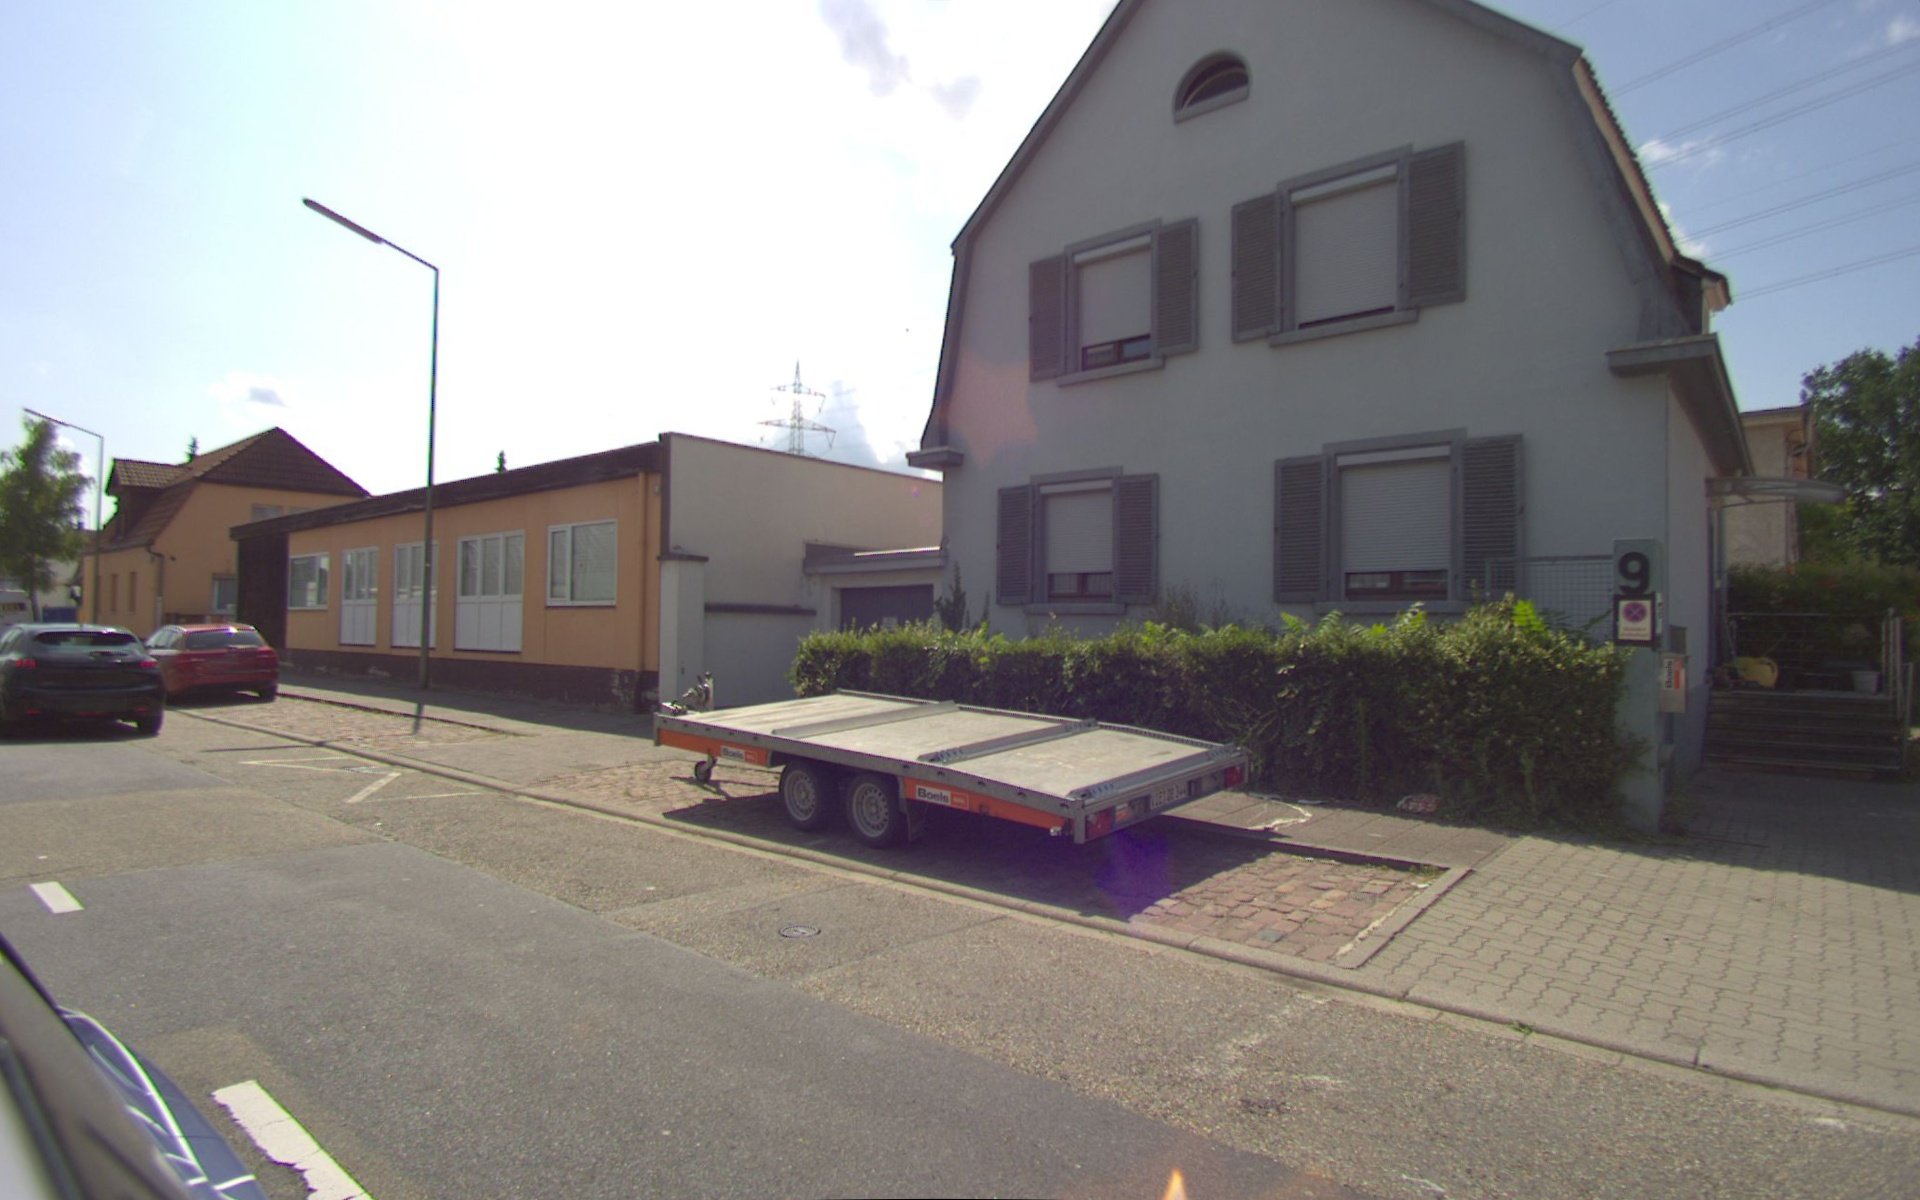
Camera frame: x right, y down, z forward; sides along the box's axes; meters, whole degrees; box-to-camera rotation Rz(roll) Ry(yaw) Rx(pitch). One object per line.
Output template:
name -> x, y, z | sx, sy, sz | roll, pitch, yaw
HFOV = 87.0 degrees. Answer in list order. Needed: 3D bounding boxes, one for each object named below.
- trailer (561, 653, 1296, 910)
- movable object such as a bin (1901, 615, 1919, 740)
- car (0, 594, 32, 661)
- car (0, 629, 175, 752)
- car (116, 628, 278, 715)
trailer -> -0.671, 1.108, 8.277 | 6.052, 1.173, 2.424 | -1, -2, 42
movable object such as a bin -> 21.846, 1.608, 20.248 | 4.042, 2.556, 3.948 | -1, -4, 38
car -> -38.948, 1.117, 40.475 | 5.821, 2.561, 2.052 | -1, -1, 41
car -> -12.363, 1.151, 13.847 | 3.997, 1.453, 1.717 | -1, -4, 40
car -> -15.098, 1.309, 19.925 | 4.628, 1.478, 1.692 | -1, -1, 42
